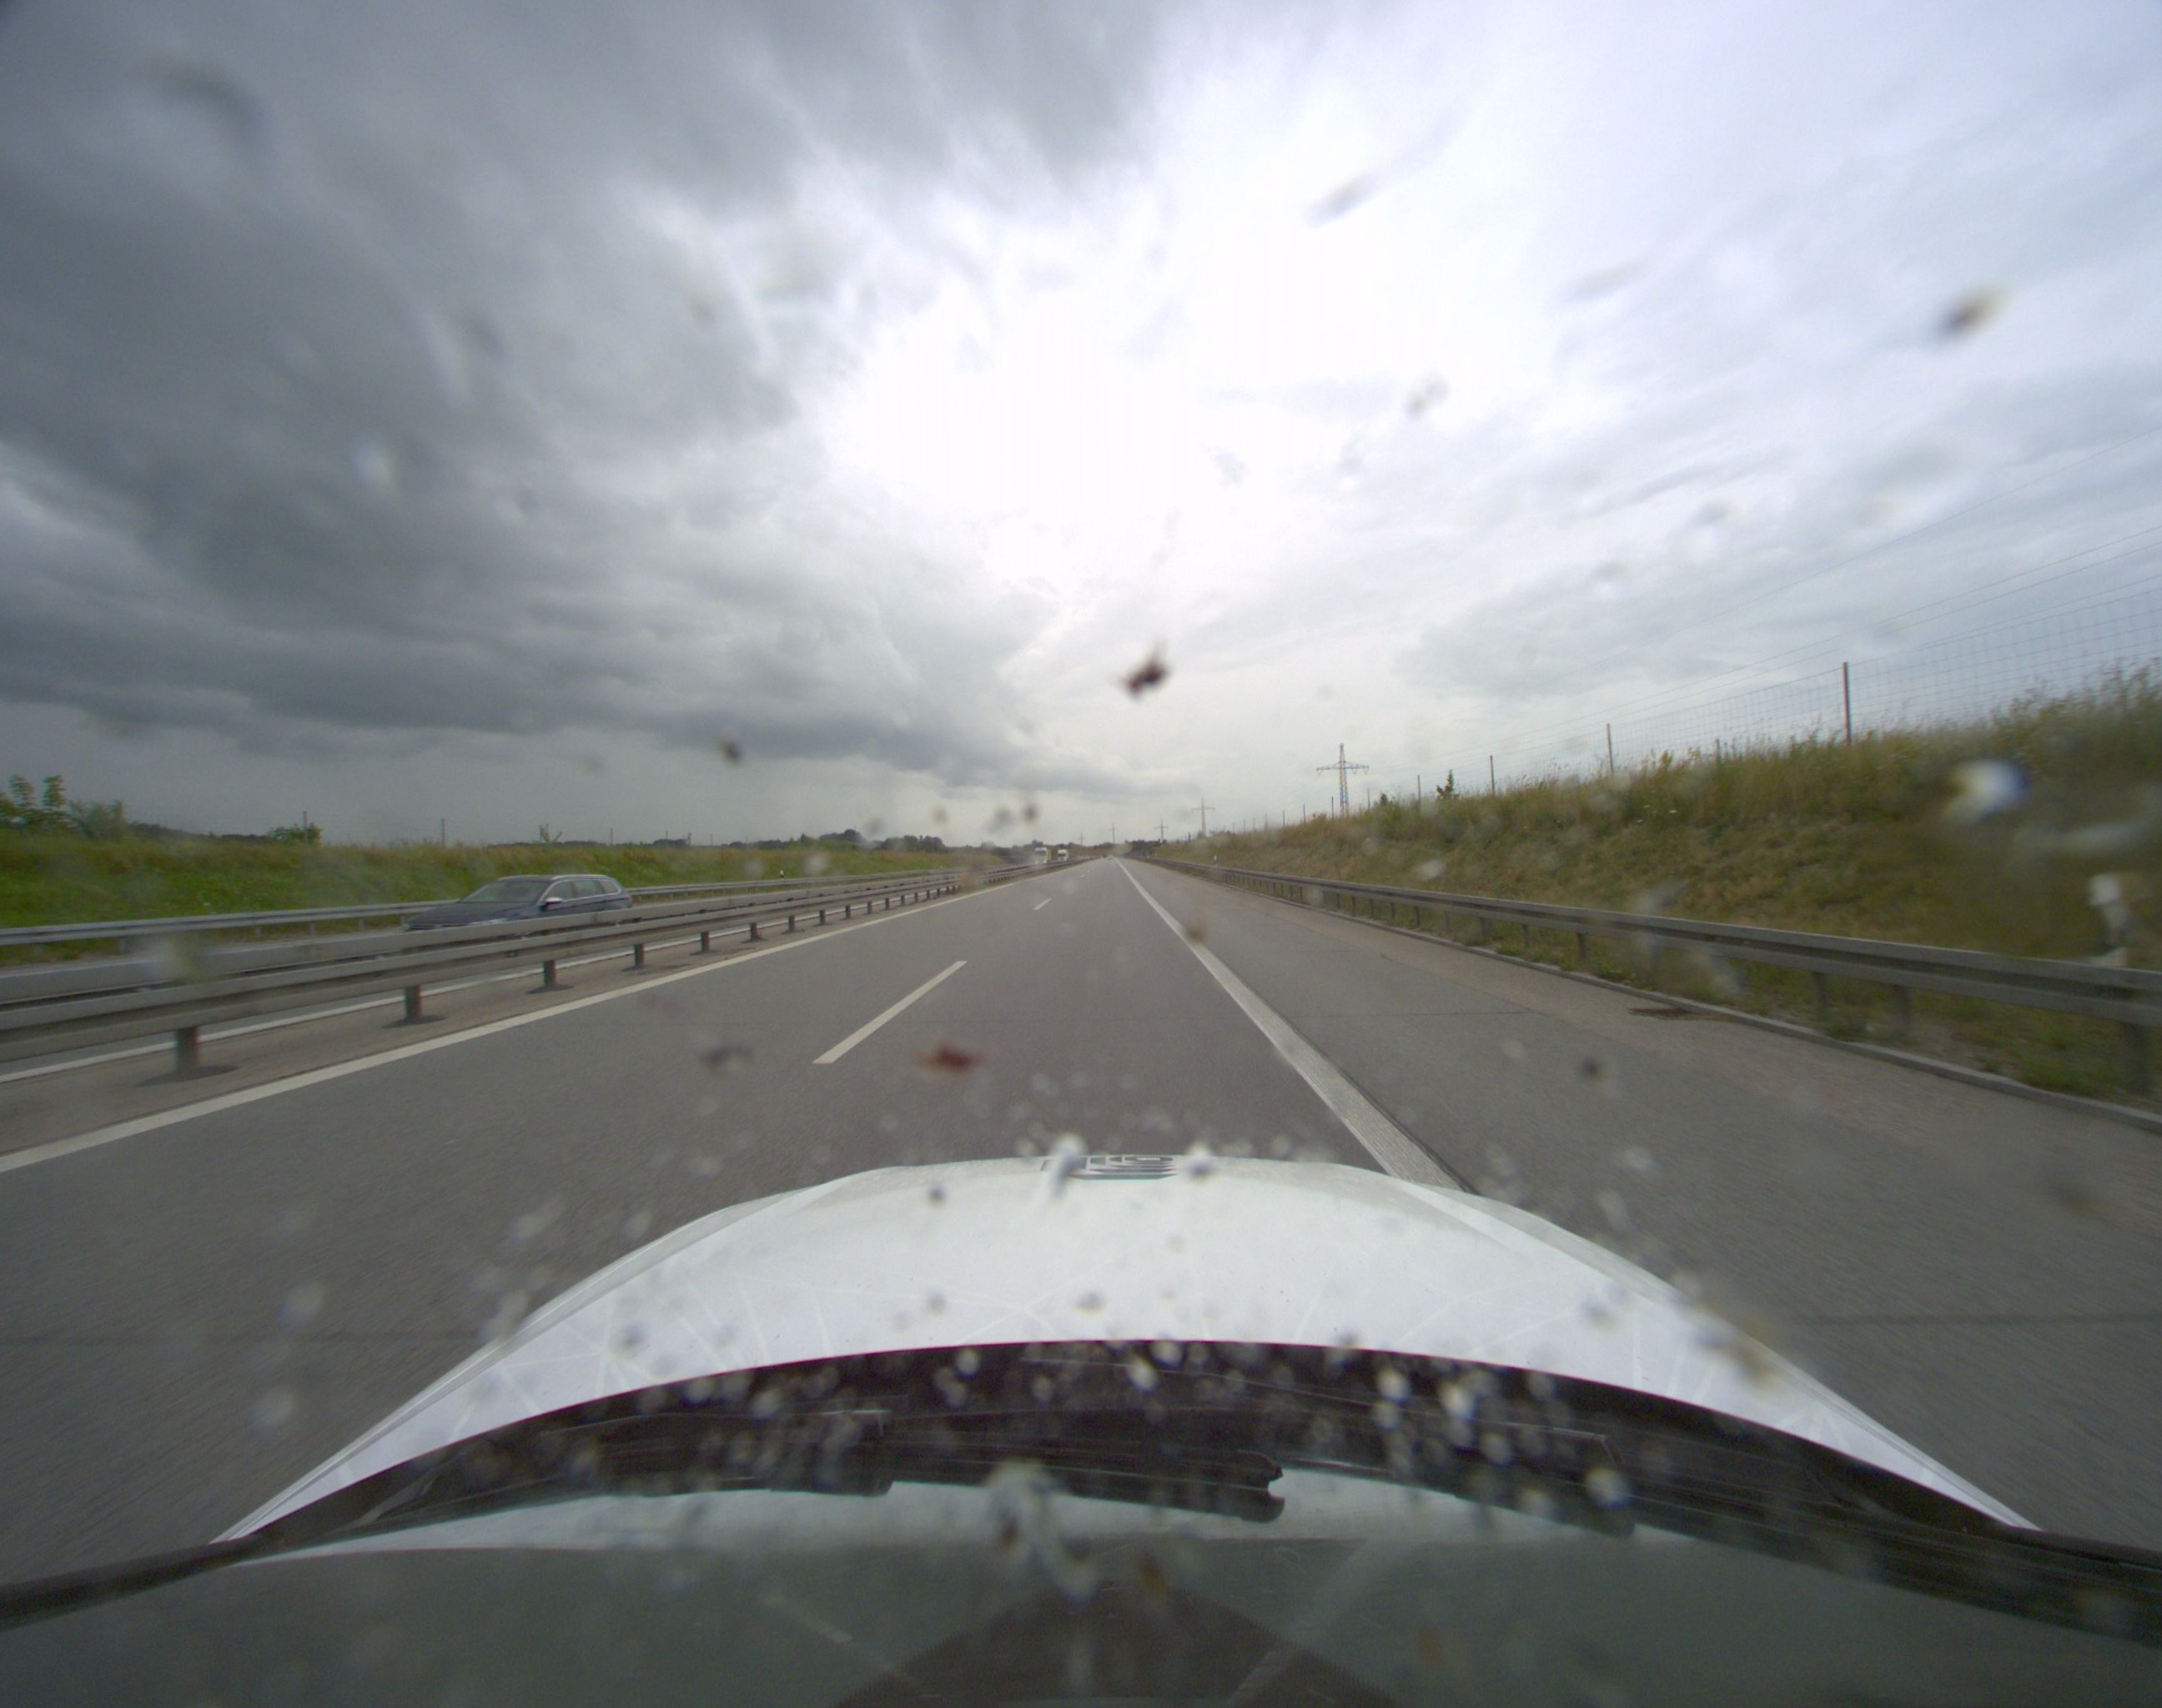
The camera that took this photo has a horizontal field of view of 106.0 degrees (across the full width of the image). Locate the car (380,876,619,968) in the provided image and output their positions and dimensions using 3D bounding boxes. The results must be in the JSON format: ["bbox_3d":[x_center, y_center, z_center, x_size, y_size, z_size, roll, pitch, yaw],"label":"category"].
[{"bbox_3d":[-10.994,1.202,15.807,1.758,1.424,3.999,-2,0,-1],"label":"car"}]

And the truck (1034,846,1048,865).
[{"bbox_3d":[-8.587,0.303,175.633,2.584,3.925,5.586,-3,0,0],"label":"truck"}]
